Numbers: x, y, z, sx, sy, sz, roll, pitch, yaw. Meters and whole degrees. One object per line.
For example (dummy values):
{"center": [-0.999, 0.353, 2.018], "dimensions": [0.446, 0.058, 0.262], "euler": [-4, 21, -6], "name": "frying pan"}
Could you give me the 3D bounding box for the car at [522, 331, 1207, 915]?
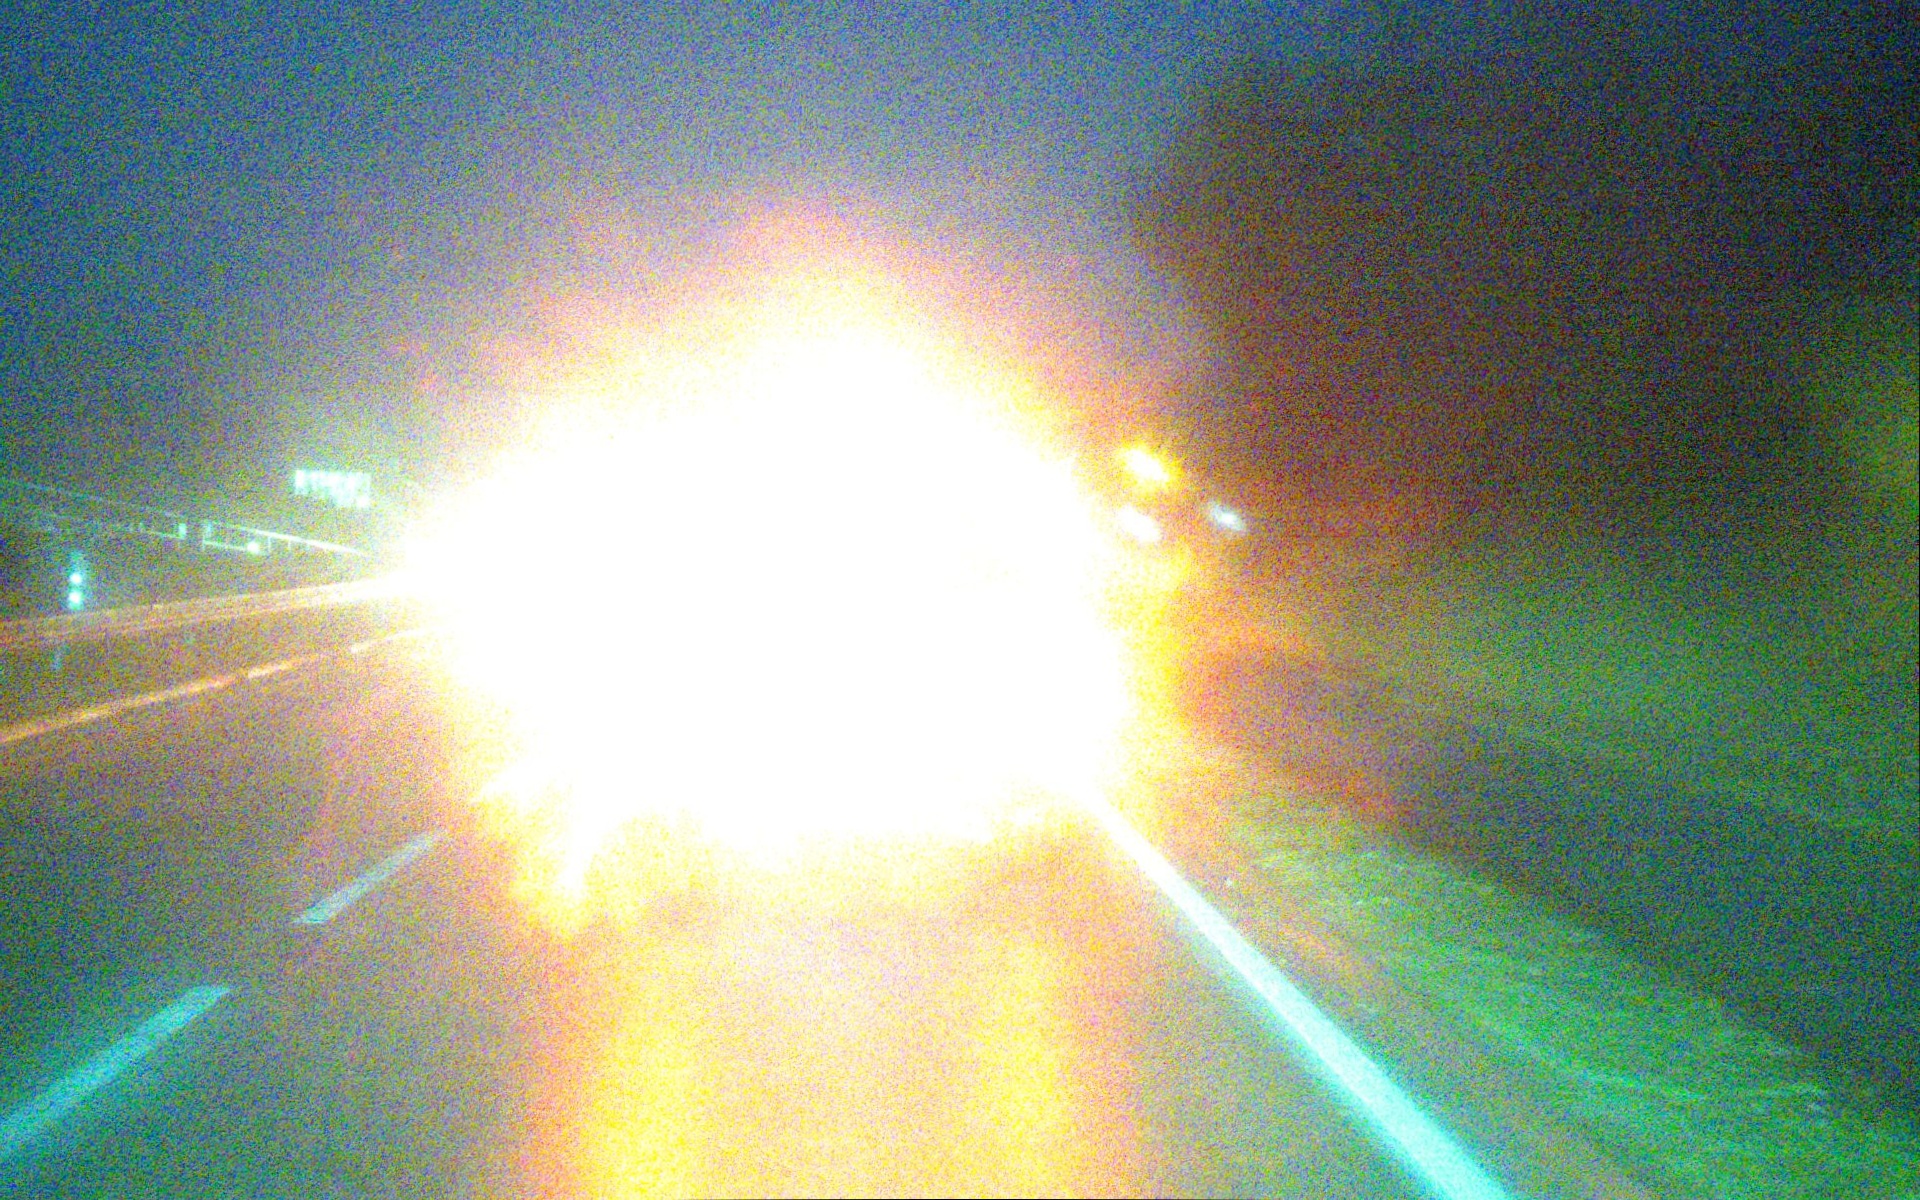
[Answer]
{"center": [-0.499, 0.060, 16.913], "dimensions": [2.715, 2.300, 6.101], "euler": [1, 1, -2], "name": "car"}
